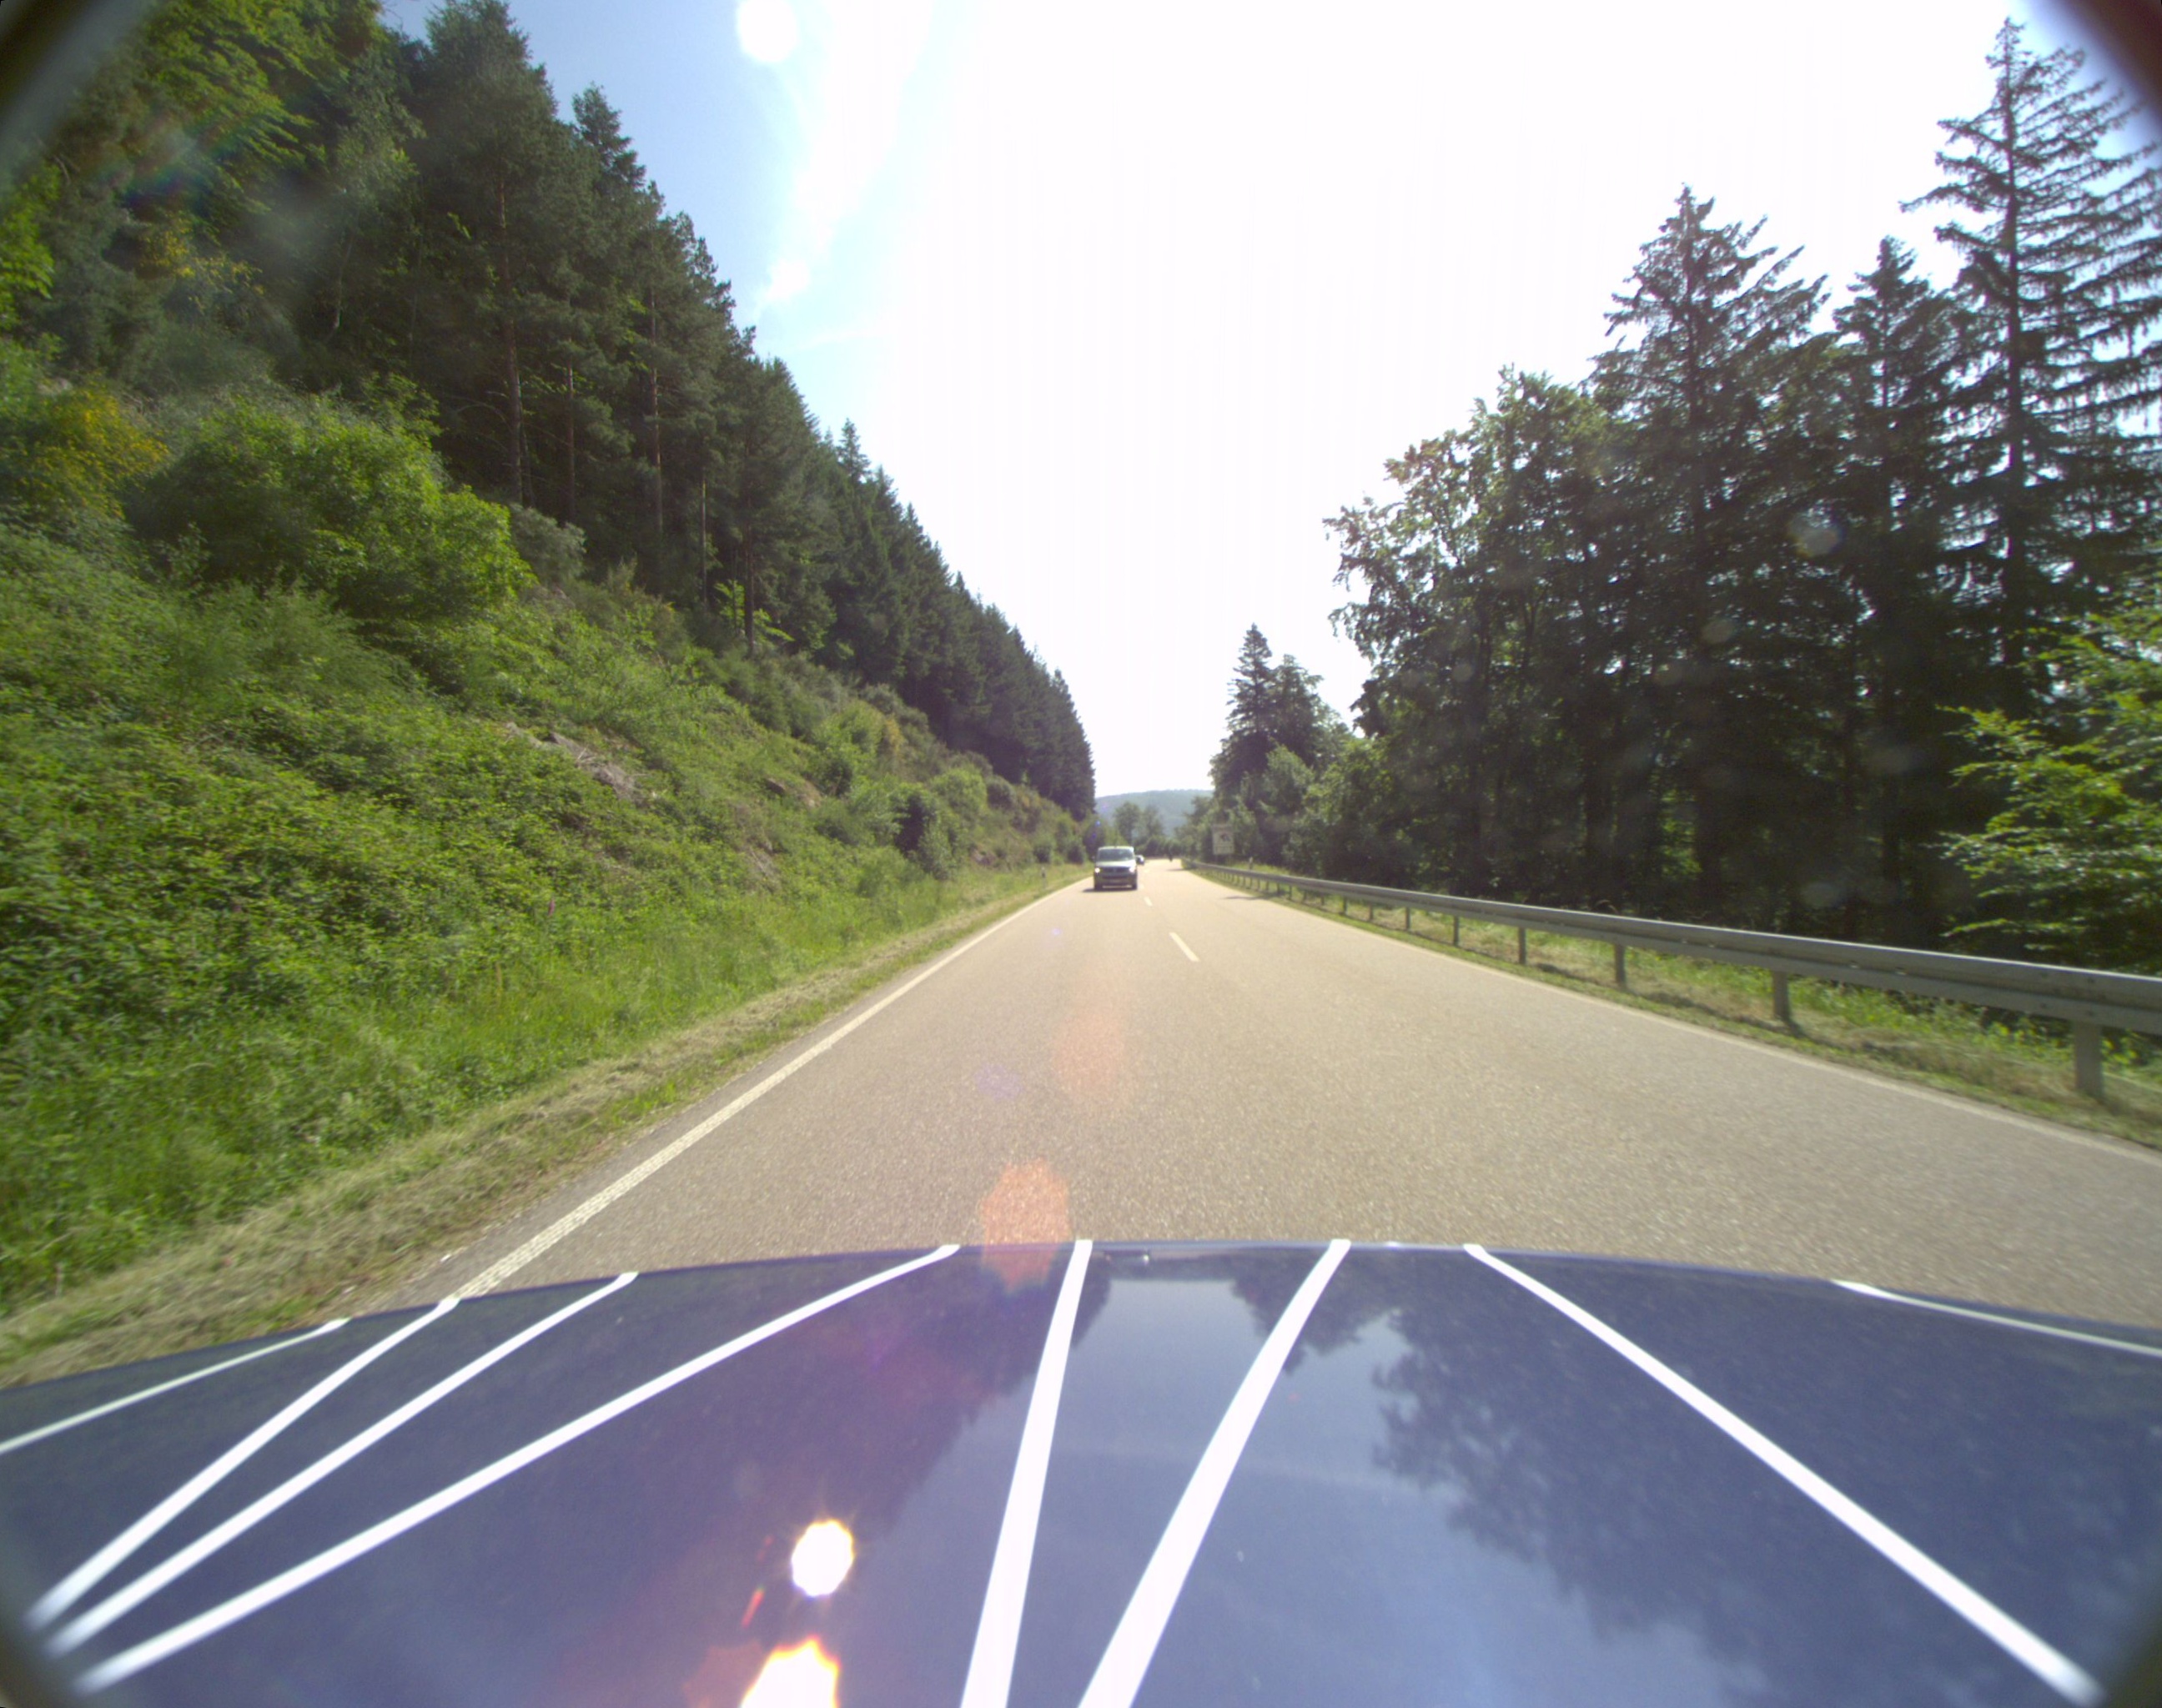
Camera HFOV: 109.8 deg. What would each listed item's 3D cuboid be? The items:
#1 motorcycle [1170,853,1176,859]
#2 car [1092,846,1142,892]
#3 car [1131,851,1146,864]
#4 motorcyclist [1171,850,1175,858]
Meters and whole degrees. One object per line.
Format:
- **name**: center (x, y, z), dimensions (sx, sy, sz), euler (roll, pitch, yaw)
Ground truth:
- **motorcycle**: center (17.085, 0.409, 141.402), dimensions (0.986, 1.065, 1.964), euler (-1, 0, 10)
- **car**: center (1.717, 0.617, 34.431), dimensions (1.990, 1.899, 4.762), euler (-1, 0, 5)
- **car**: center (8.170, 0.426, 107.660), dimensions (1.998, 1.718, 4.001), euler (-2, 0, 6)
- **motorcyclist**: center (17.039, -0.060, 141.416), dimensions (0.659, 1.504, 0.934), euler (-1, 0, 10)
